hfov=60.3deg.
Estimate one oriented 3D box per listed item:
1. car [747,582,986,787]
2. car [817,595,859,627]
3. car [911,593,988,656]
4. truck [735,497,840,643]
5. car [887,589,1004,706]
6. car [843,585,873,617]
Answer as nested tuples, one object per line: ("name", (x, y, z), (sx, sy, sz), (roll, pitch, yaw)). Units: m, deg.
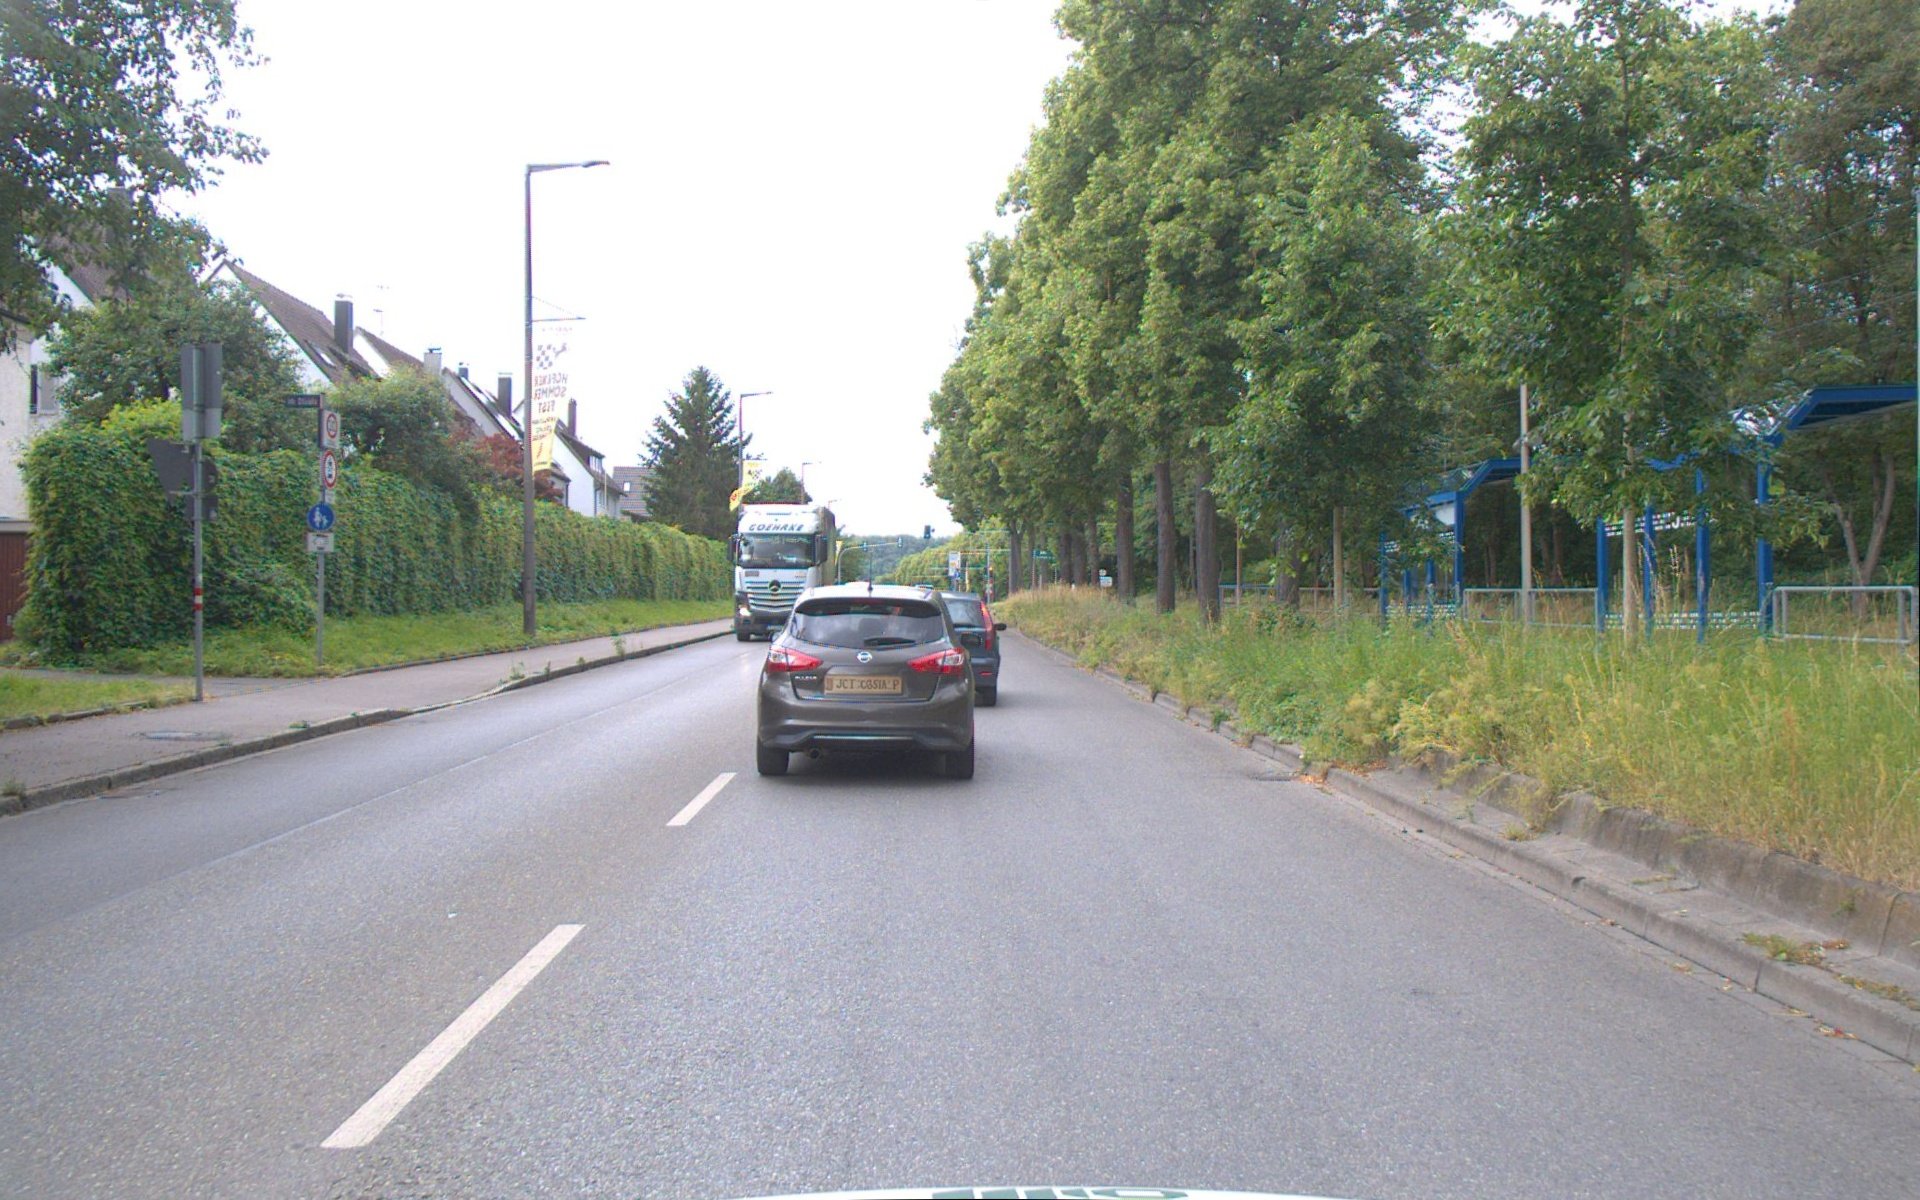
("car", (-0.747, 0.623, 14.743), (1.798, 1.545, 4.482), (0, 0, -1))
("car", (-5.514, 0.477, 74.842), (1.698, 1.399, 4.238), (-1, 0, -2))
("car", (-0.273, 0.555, 39.919), (1.756, 1.421, 3.999), (0, 0, -1))
("truck", (-5.325, -0.854, 52.804), (2.498, 4.114, 10.615), (-2, 0, -2))
("car", (-0.220, 0.599, 23.095), (1.507, 1.504, 3.763), (0, 0, -1))
("car", (-6.722, 0.029, 109.169), (1.869, 1.966, 4.908), (-1, 2, -3))
